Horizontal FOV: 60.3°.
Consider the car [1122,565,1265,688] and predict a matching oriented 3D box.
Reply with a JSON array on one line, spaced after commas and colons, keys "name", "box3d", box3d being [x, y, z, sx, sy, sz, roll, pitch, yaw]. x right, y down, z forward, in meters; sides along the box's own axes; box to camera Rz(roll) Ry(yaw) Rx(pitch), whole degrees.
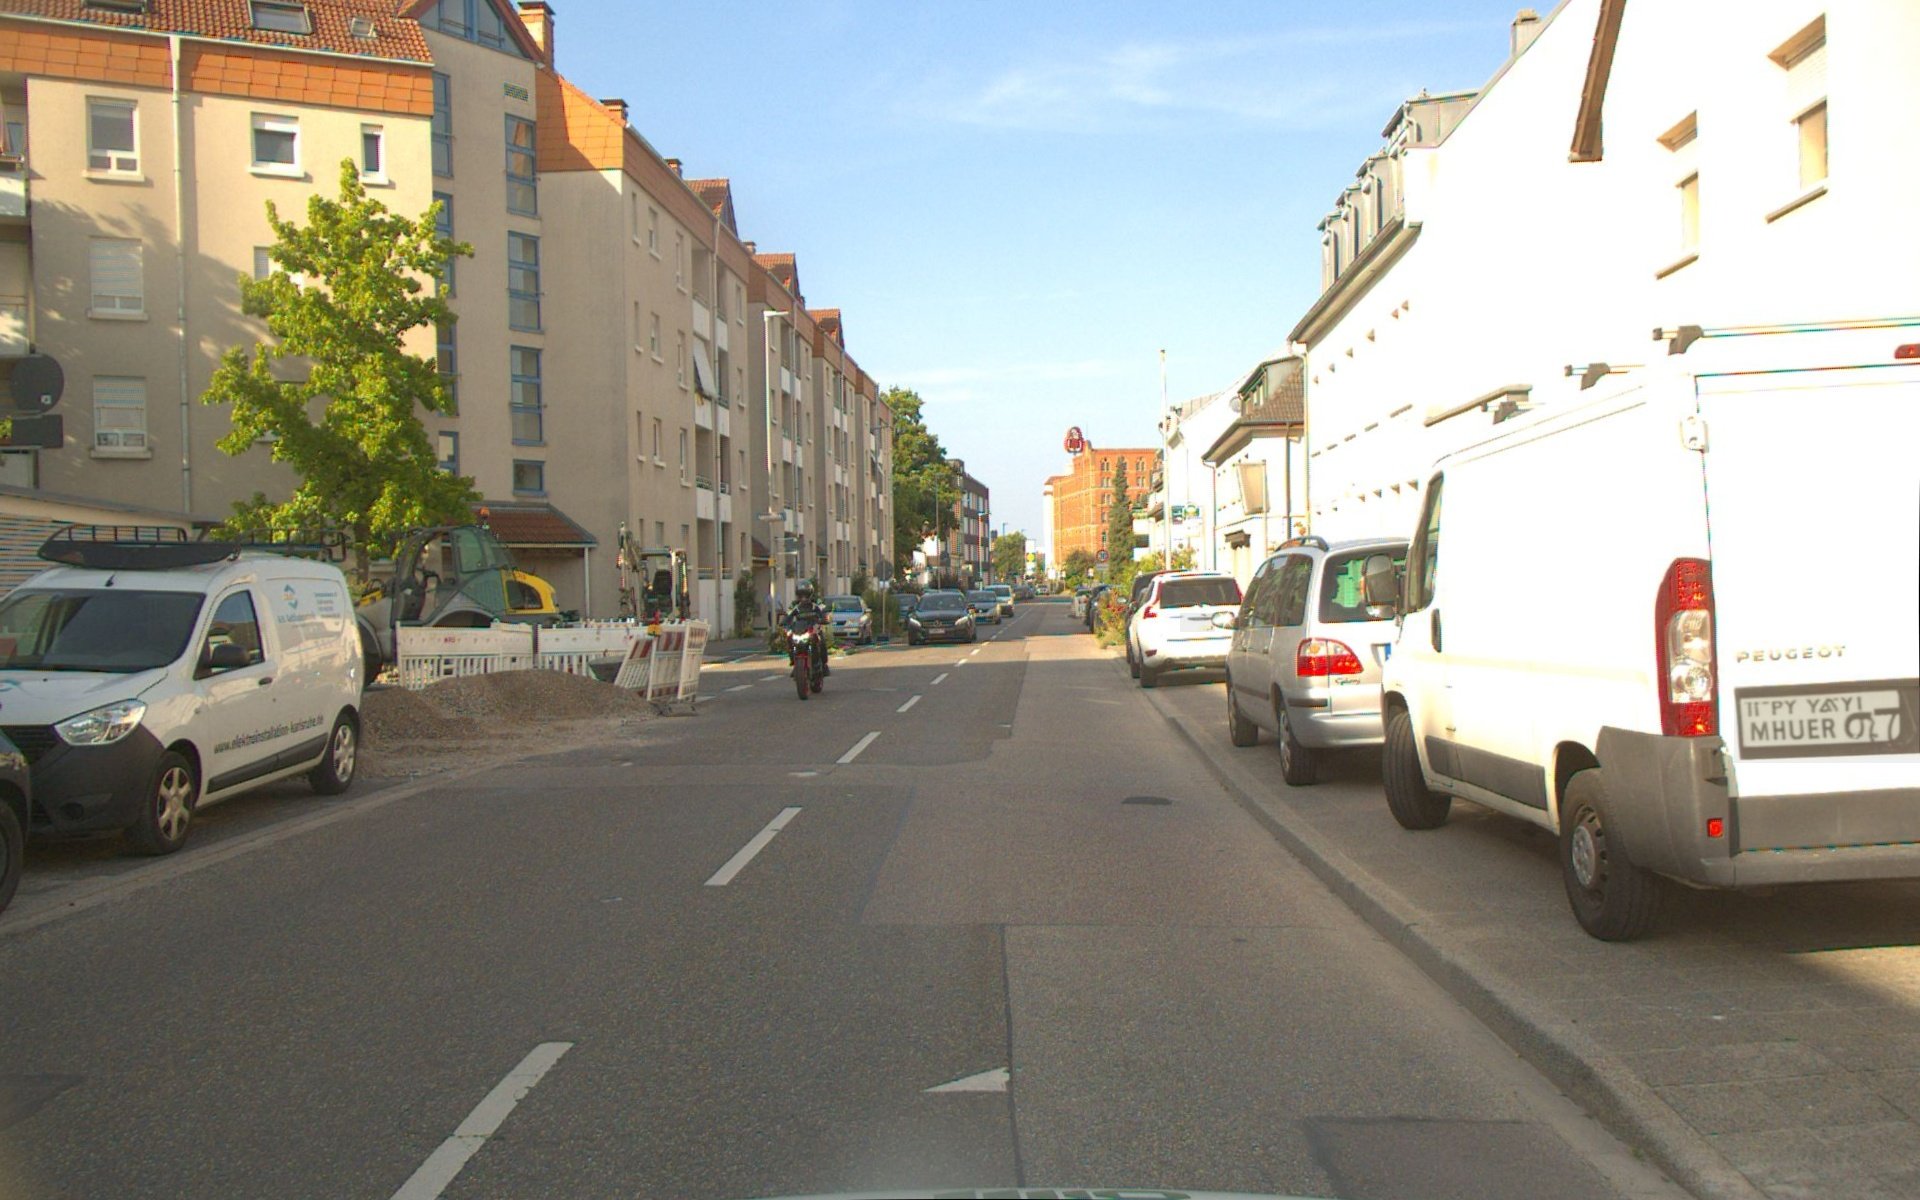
[{"name": "car", "box3d": [3.596, 0.350, 26.138, 1.774, 1.713, 4.479, -2, 1, 3]}]

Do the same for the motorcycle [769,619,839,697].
[{"name": "motorcycle", "box3d": [-2.208, 0.806, 23.646, 0.752, 1.002, 2.199, -1, 1, 1]}]

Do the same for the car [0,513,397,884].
[{"name": "car", "box3d": [-5.402, 0.502, 11.112, 1.692, 1.995, 4.439, 0, 1, 0]}]

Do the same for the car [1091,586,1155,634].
[{"name": "car", "box3d": [5.089, 0.287, 52.111, 1.742, 1.445, 4.498, -1, 0, 2]}]

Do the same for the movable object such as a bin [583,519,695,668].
[{"name": "movable object such as a bin", "box3d": [-7.269, -0.167, 37.769, 1.613, 3.193, 3.901, -1, 1, 2]}]

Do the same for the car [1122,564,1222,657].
[{"name": "car", "box3d": [4.702, 0.185, 37.306, 2.032, 1.888, 4.613, -2, 1, 6]}]

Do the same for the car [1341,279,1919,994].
[{"name": "car", "box3d": [3.511, 0.063, 8.053, 2.130, 2.368, 4.998, -2, 1, 1]}]

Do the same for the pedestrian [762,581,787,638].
[{"name": "pedestrian", "box3d": [-6.148, 0.314, 54.815, 0.703, 1.850, 0.745, 0, 0, 4]}]

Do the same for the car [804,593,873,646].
[{"name": "car", "box3d": [-3.481, 0.536, 47.929, 1.606, 1.420, 3.672, -2, 1, 2]}]

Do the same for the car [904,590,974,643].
[{"name": "car", "box3d": [-0.555, 0.446, 47.865, 1.792, 1.445, 4.210, -1, 0, 2]}]

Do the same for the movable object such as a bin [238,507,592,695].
[{"name": "movable object such as a bin", "box3d": [-8.943, -0.008, 27.668, 5.400, 2.951, 2.106, 0, 1, -12]}]

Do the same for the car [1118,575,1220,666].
[{"name": "car", "box3d": [3.956, 0.373, 31.918, 1.556, 1.555, 4.615, -2, 0, 3]}]

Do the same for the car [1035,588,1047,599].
[{"name": "car", "box3d": [11.904, -0.951, 243.957, 1.726, 1.644, 4.002, -2, 0, 3]}]

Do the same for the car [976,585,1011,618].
[{"name": "car", "box3d": [1.921, 0.067, 94.227, 1.882, 1.798, 4.339, -1, 0, 2]}]

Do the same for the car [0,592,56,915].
[{"name": "car", "box3d": [-5.138, 0.731, 6.344, 1.462, 1.490, 3.513, 0, 1, -1]}]

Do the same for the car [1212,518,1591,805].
[{"name": "car", "box3d": [3.175, 0.363, 12.865, 1.741, 1.771, 4.484, -2, 1, 1]}]

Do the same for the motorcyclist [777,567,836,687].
[{"name": "motorcyclist", "box3d": [-2.196, 0.370, 23.718, 0.753, 1.681, 0.844, -1, 0, 0]}]

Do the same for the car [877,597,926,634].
[{"name": "car", "box3d": [-2.310, 0.601, 66.069, 1.651, 1.430, 4.085, 0, 0, 2]}]

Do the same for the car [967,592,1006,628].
[{"name": "car", "box3d": [1.191, 0.431, 73.542, 1.584, 1.480, 3.686, -2, 0, 2]}]
